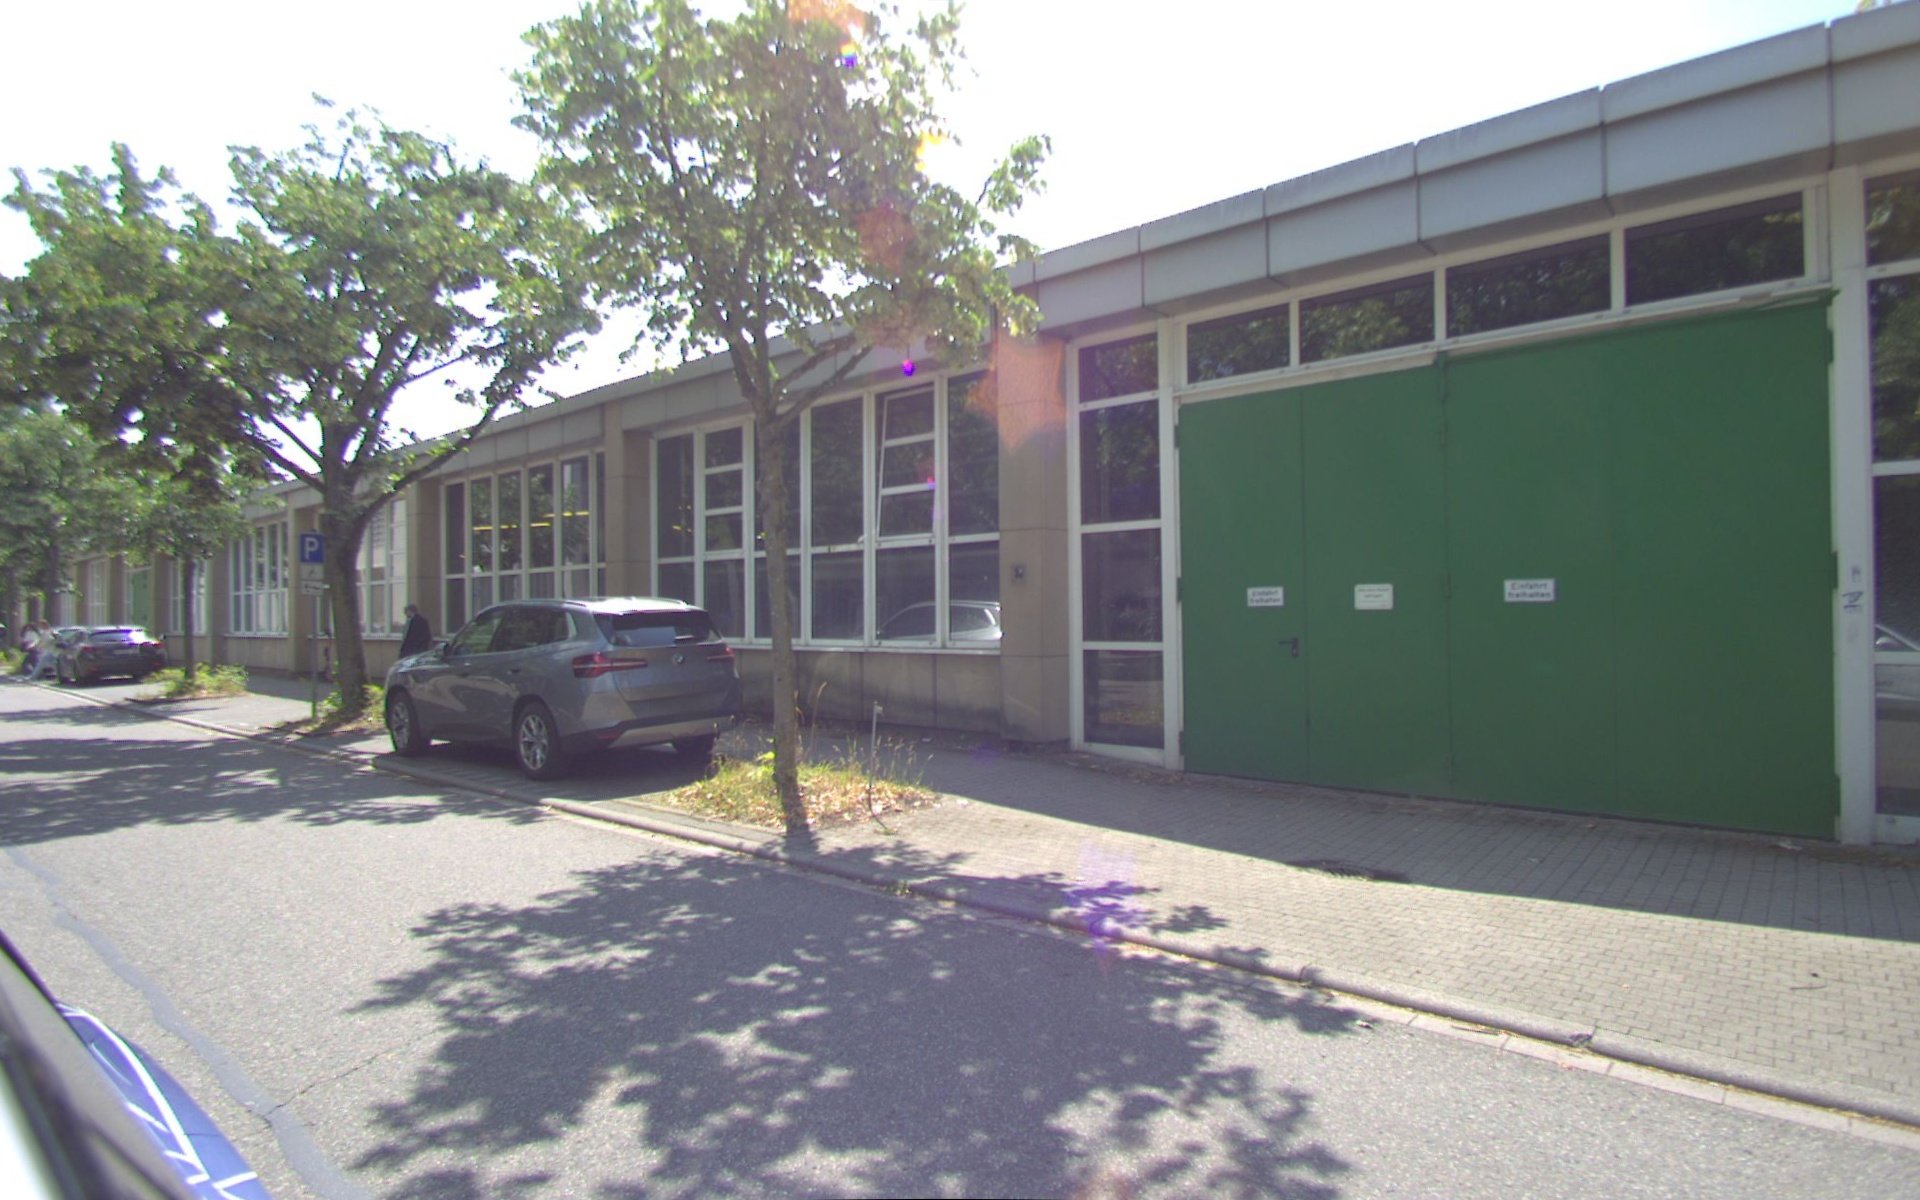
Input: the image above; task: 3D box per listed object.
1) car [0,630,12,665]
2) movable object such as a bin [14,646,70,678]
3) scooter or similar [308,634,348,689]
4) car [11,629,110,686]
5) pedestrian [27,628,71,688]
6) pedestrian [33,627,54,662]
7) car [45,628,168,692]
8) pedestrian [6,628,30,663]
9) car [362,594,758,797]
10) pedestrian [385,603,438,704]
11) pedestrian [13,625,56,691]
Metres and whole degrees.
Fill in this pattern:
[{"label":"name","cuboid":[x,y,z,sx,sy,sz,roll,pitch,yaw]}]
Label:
[{"label":"car","cuboid":[-43.026,2.122,44.321,3.674,1.460,1.781,-2,1,40]},{"label":"movable object such as a bin","cuboid":[-32.491,2.186,35.830,1.695,0.992,1.278,-3,0,42]},{"label":"scooter or similar","cuboid":[-14.589,1.415,23.336,1.245,1.216,0.379,-3,0,40]},{"label":"car","cuboid":[-26.394,1.649,29.664,3.750,1.460,1.613,-2,1,40]},{"label":"pedestrian","cuboid":[-24.510,1.544,27.235,0.663,1.553,0.787,-2,-2,40]},{"label":"pedestrian","cuboid":[-43.138,2.102,47.615,0.550,1.593,0.598,-3,-4,38]},{"label":"car","cuboid":[-22.025,1.521,26.060,4.286,1.446,1.708,-3,0,40]},{"label":"pedestrian","cuboid":[-43.730,2.114,46.985,0.595,1.593,0.553,1,-3,-19]},{"label":"car","cuboid":[-4.292,0.829,10.511,4.511,1.644,1.804,-1,1,39]},{"label":"pedestrian","cuboid":[-10.145,0.969,18.741,0.659,1.800,0.793,-2,-1,-15]},{"label":"pedestrian","cuboid":[-25.169,1.560,27.529,0.601,1.741,0.787,-2,-2,40]}]
